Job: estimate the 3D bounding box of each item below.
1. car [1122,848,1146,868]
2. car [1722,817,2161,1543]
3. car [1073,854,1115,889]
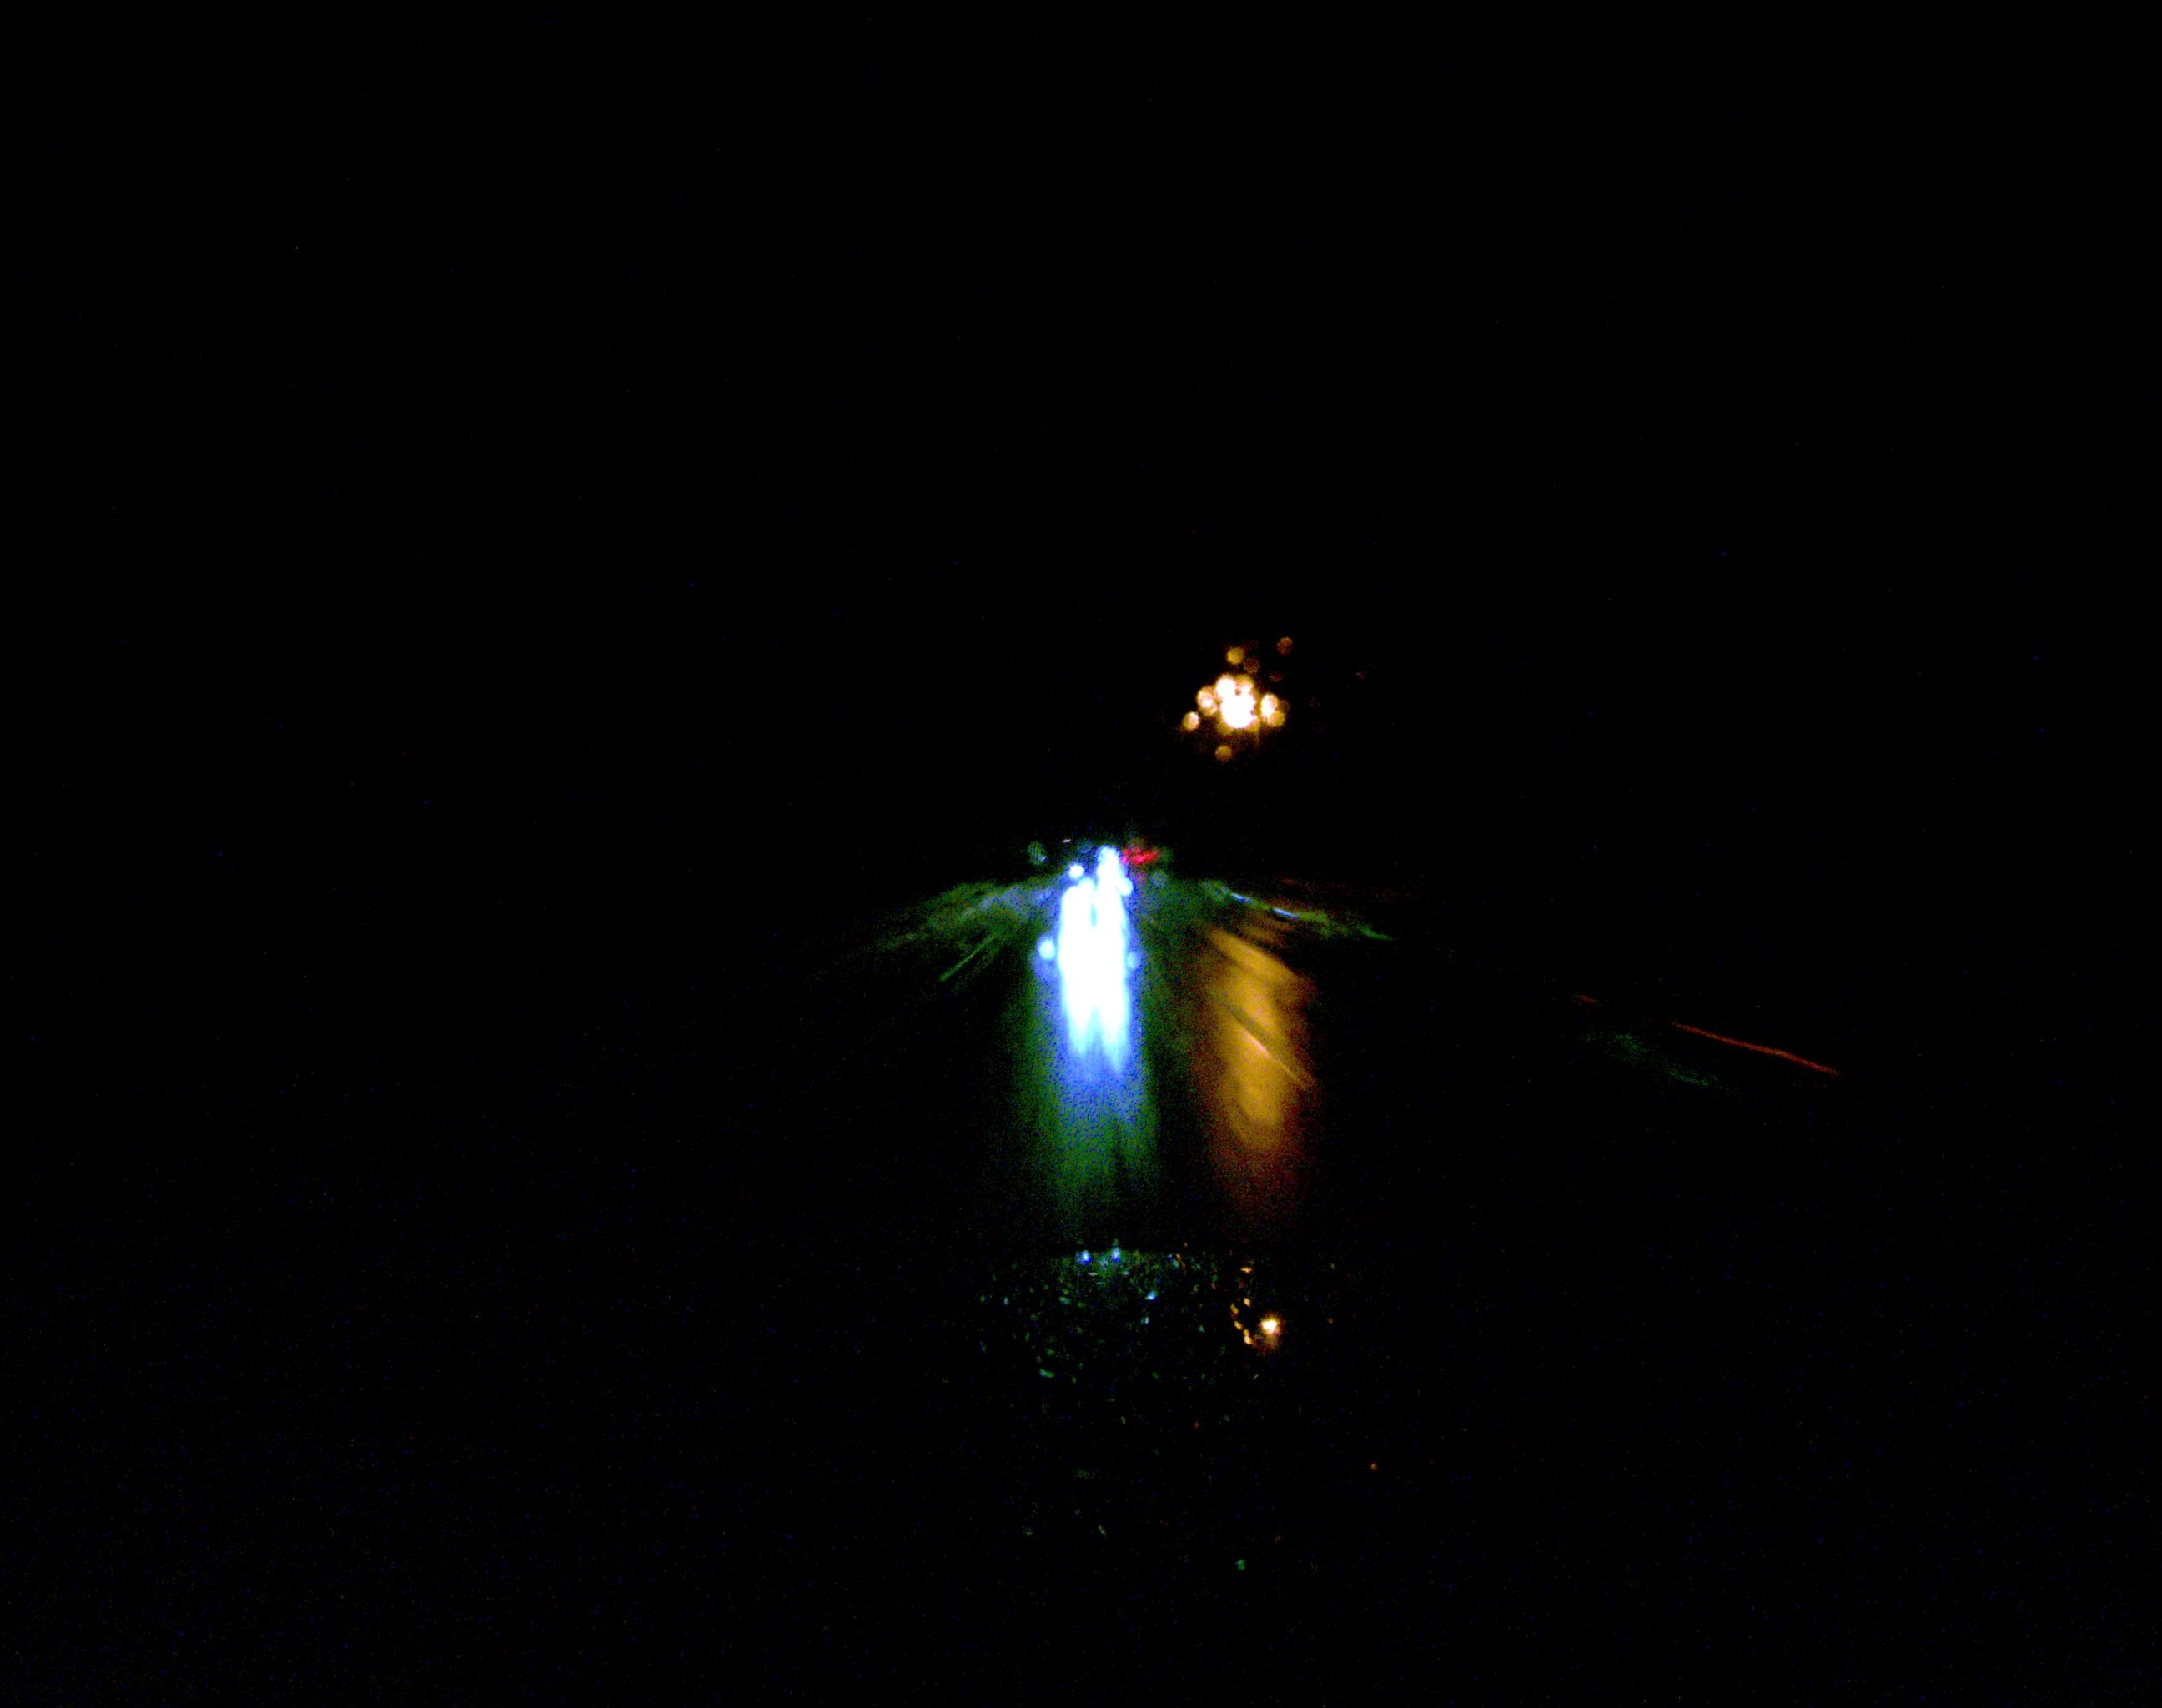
[{"bbox_3d":[4.494,0.314,64.479,1.806,1.483,3.867,-2,1,2],"label":"car"},{"bbox_3d":[3.181,0.662,0.492,1.919,1.467,4.202,-3,1,0],"label":"car"},{"bbox_3d":[0.650,0.947,39.596,1.944,1.580,4.777,-4,-2,0],"label":"car"}]
